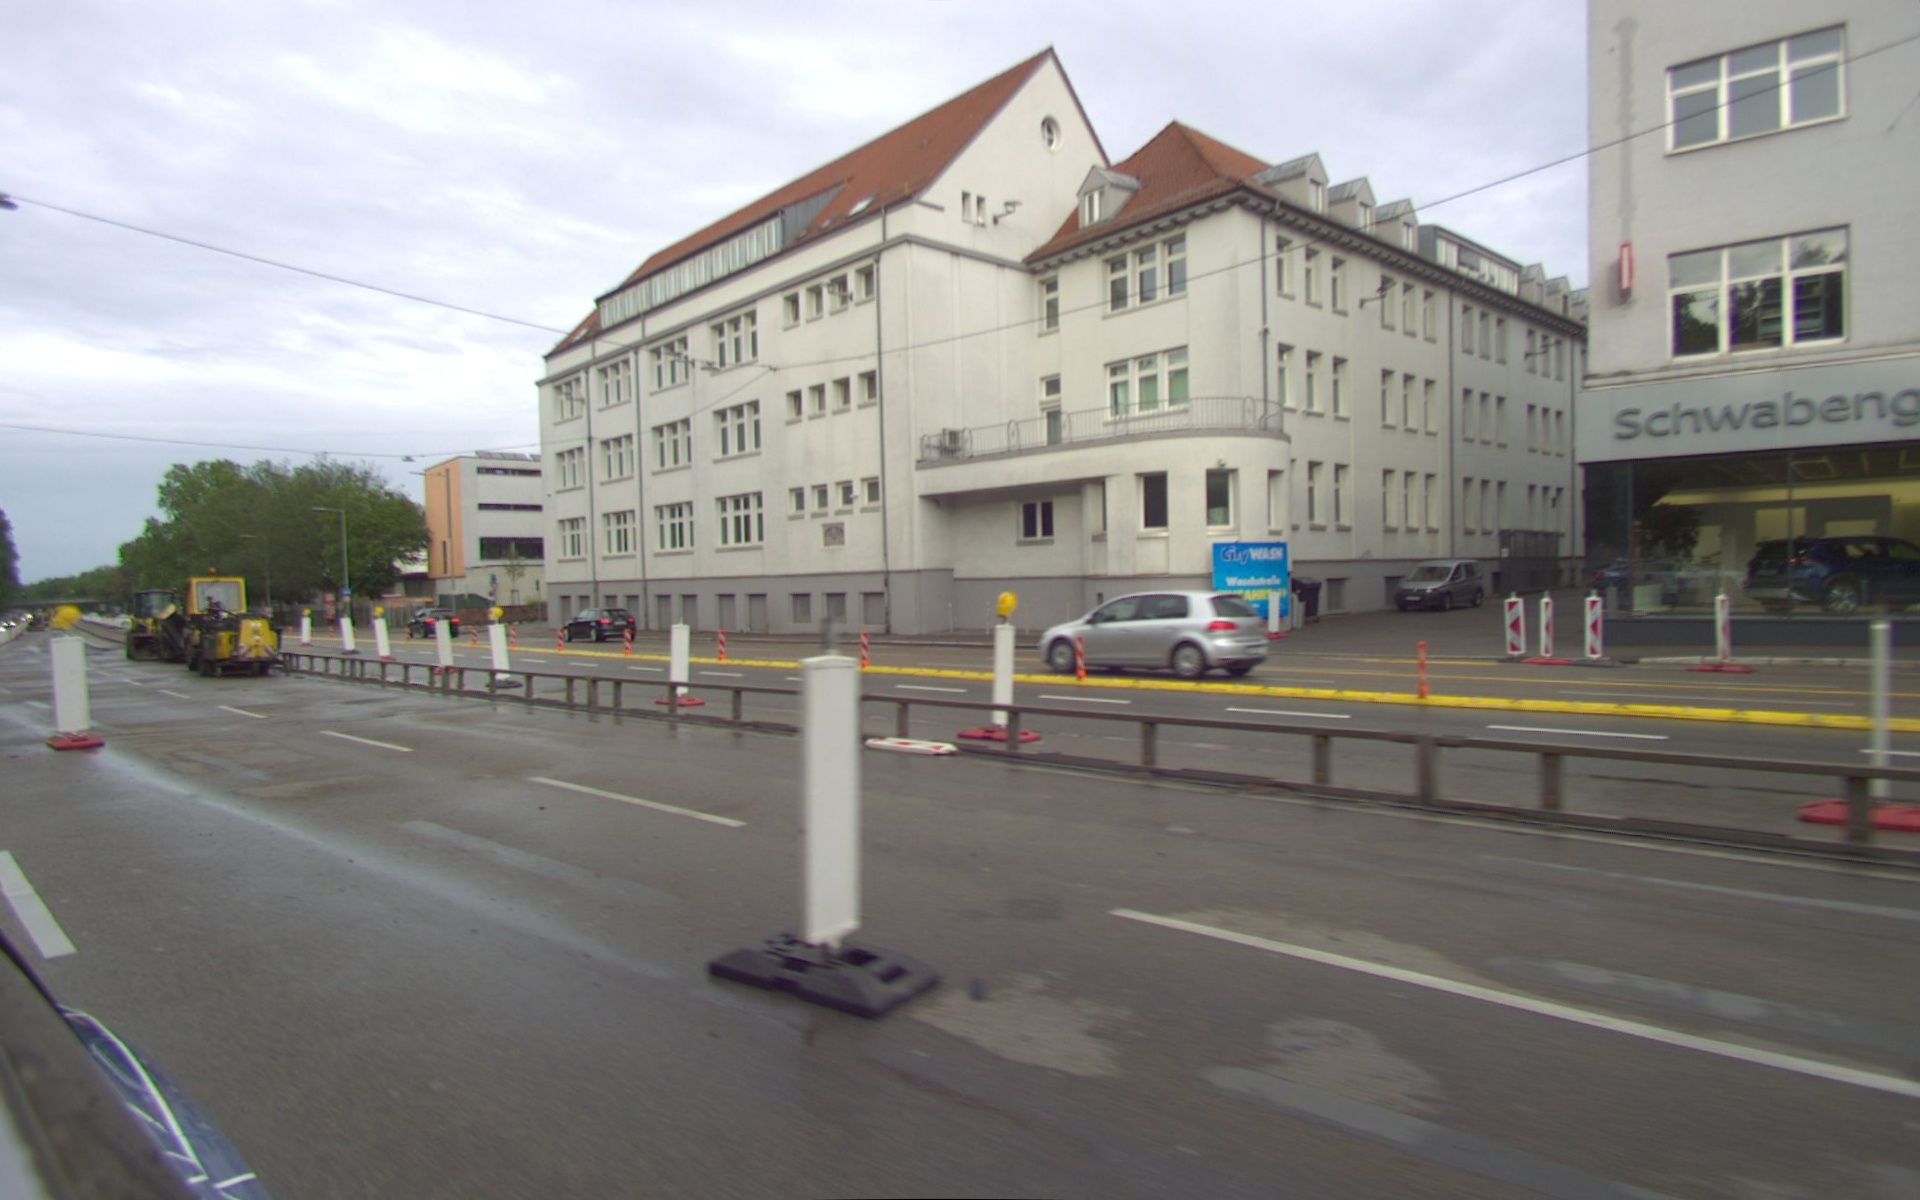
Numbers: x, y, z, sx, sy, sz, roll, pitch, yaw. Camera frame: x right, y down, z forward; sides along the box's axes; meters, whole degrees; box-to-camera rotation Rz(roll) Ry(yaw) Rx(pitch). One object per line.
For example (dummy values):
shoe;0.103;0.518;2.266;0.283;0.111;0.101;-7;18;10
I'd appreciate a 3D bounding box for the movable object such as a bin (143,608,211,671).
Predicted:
movable object such as a bin;-27.607;1.361;35.633;1.380;2.060;4.088;-1;-1;-45

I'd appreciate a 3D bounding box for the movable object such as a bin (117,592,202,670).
movable object such as a bin;-31.348;1.170;39.582;2.097;2.859;4.481;-1;0;-45

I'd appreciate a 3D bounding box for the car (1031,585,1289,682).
car;3.325;0.550;17.371;4.119;1.475;1.682;-1;-2;45

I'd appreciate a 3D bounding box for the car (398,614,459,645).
car;-30.226;1.671;57.493;1.970;1.597;4.214;-1;0;-44

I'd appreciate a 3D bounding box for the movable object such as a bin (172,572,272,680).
movable object such as a bin;-21.464;0.744;29.396;1.801;2.934;3.609;-1;-1;-45

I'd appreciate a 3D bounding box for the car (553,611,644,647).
car;-14.882;1.186;41.538;3.999;1.392;1.838;-1;-1;42

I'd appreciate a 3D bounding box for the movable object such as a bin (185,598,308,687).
movable object such as a bin;-18.669;1.062;26.431;1.971;2.128;3.851;-1;0;-45

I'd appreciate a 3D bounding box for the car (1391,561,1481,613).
car;17.770;-0.484;37.671;3.906;1.844;1.791;-1;0;-45
